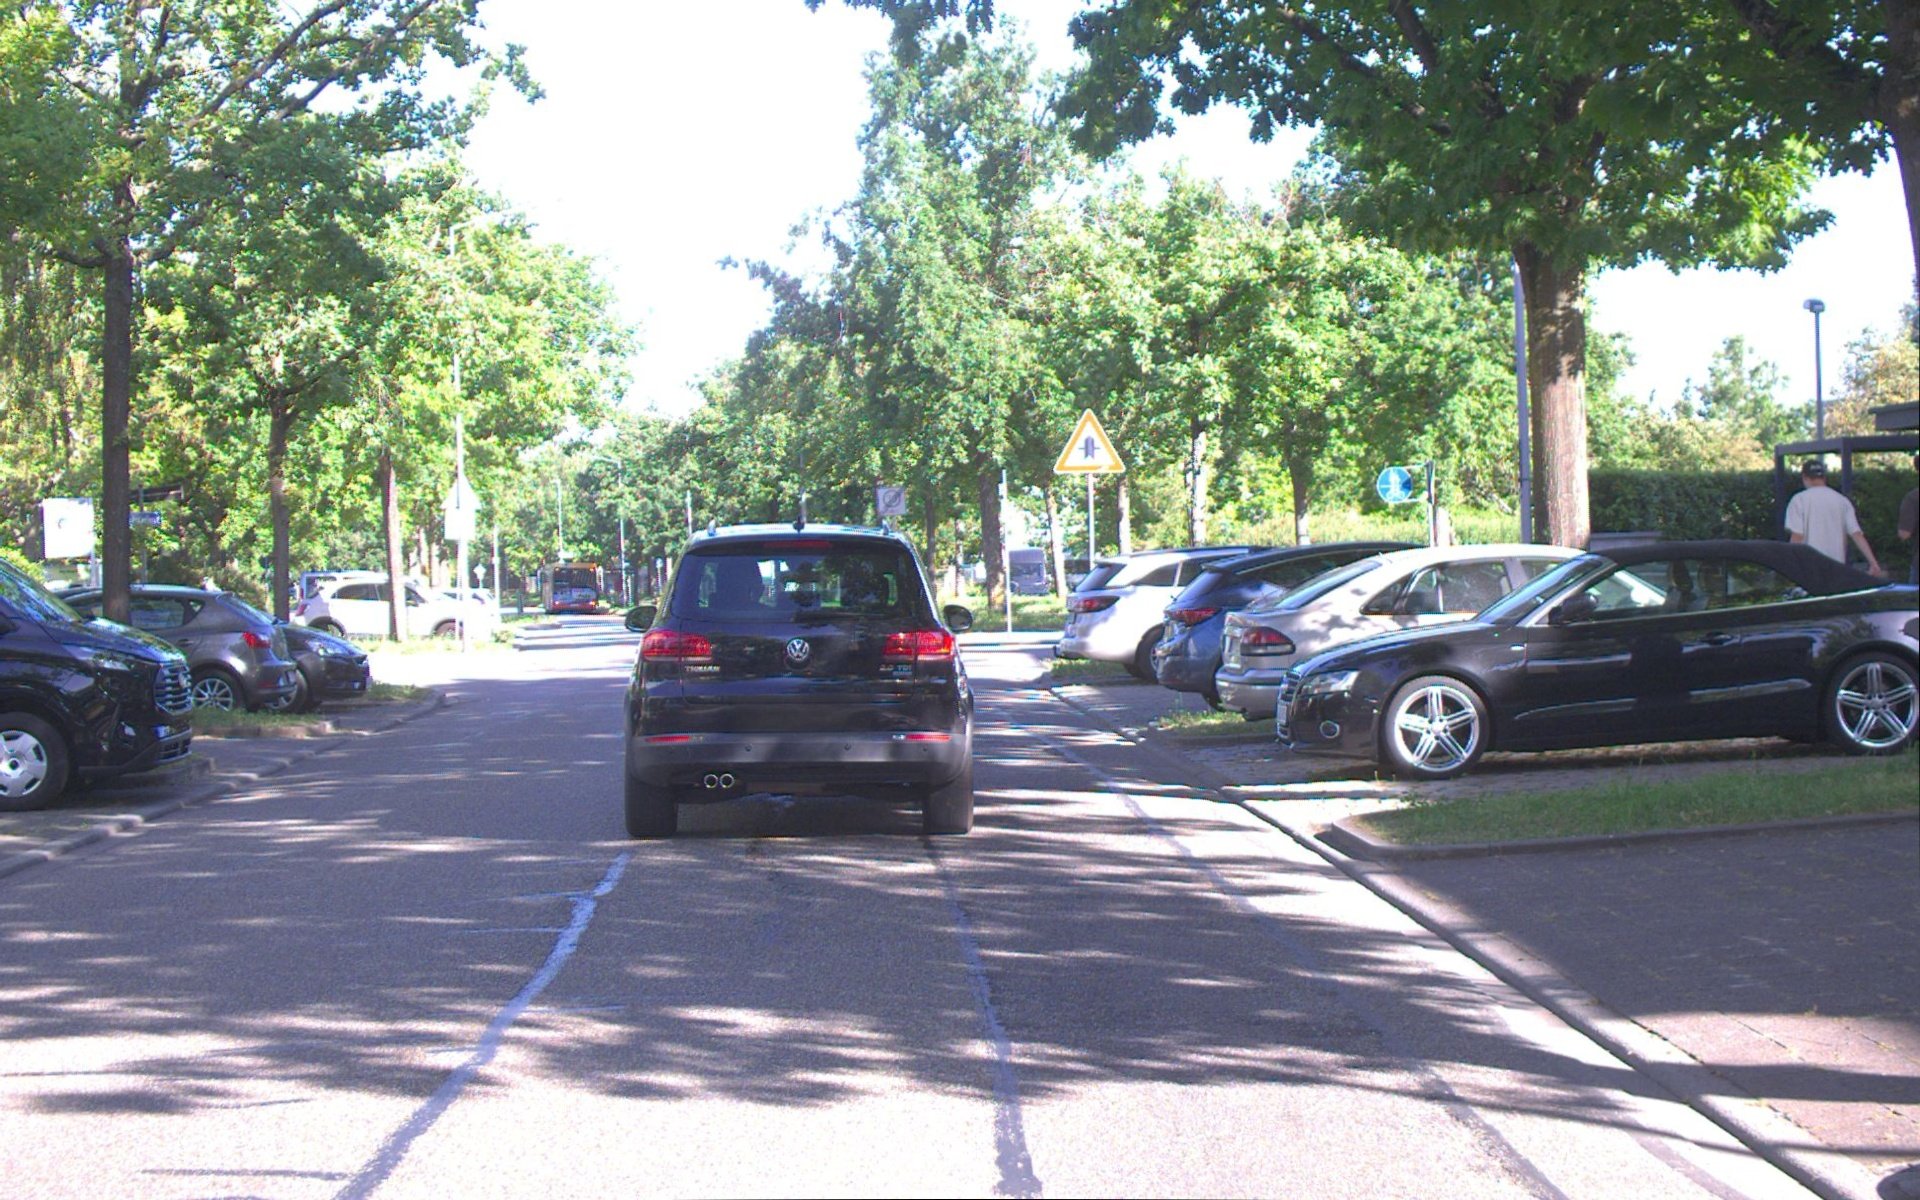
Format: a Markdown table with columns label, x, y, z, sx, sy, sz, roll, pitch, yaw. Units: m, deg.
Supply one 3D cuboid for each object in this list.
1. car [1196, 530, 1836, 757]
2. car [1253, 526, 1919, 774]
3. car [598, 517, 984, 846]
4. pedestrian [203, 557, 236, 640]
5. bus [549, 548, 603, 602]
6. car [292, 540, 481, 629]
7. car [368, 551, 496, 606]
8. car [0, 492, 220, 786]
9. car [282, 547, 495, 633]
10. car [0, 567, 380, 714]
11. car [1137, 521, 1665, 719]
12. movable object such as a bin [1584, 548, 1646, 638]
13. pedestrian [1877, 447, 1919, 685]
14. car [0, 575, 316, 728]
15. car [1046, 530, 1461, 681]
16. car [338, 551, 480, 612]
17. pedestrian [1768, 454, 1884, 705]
| label | x | y | z | sx | sy | sz | roll | pitch | yaw |
| --- | --- | --- | --- | --- | --- | --- | --- | --- | --- |
| car | 3.942 | 0.288 | 24.864 | 4.276 | 1.409 | 1.797 | -2 | 1 | -1 |
| car | 4.175 | 0.294 | 22.053 | 4.346 | 1.358 | 1.873 | -2 | 0 | -1 |
| car | -0.840 | 0.387 | 19.318 | 1.838 | 1.631 | 3.958 | -1 | 1 | 2 |
| pedestrian | -14.084 | -0.036 | 65.423 | 0.441 | 1.551 | 0.801 | -2 | 1 | -3 |
| bus | -22.526 | -1.437 | 201.641 | 2.928 | 2.993 | 5.738 | -2 | 0 | -5 |
| car | -12.916 | -0.363 | 77.662 | 4.015 | 1.833 | 1.897 | -2 | 1 | -5 |
| car | -17.387 | -0.712 | 113.399 | 4.015 | 1.642 | 1.811 | -2 | 1 | -5 |
| car | -7.734 | 0.318 | 23.773 | 4.778 | 1.910 | 2.019 | -2 | 1 | -3 |
| car | -11.988 | -0.222 | 72.351 | 4.241 | 1.617 | 1.897 | -2 | 1 | -5 |
| car | -8.633 | 0.435 | 38.753 | 3.857 | 1.454 | 1.713 | -2 | 1 | -1 |
| car | 3.760 | 0.150 | 29.825 | 4.276 | 1.498 | 1.797 | -2 | 1 | -1 |
| movable object such as a bin | 7.746 | -0.085 | 40.673 | 0.534 | 1.041 | 0.700 | -2 | 1 | -3 |
| pedestrian | 7.681 | -0.273 | 26.761 | 0.835 | 1.822 | 0.710 | -2 | 0 | 1 |
| car | -8.761 | 0.535 | 35.679 | 3.818 | 1.414 | 1.772 | -2 | 1 | -3 |
| car | 3.235 | 0.045 | 38.557 | 4.428 | 1.486 | 1.797 | -2 | 1 | -1 |
| car | -16.400 | -0.560 | 102.446 | 4.015 | 1.642 | 1.811 | -2 | 1 | -5 |
| pedestrian | 6.614 | -0.151 | 26.286 | 0.608 | 1.867 | 0.924 | -2 | 0 | 1 |
